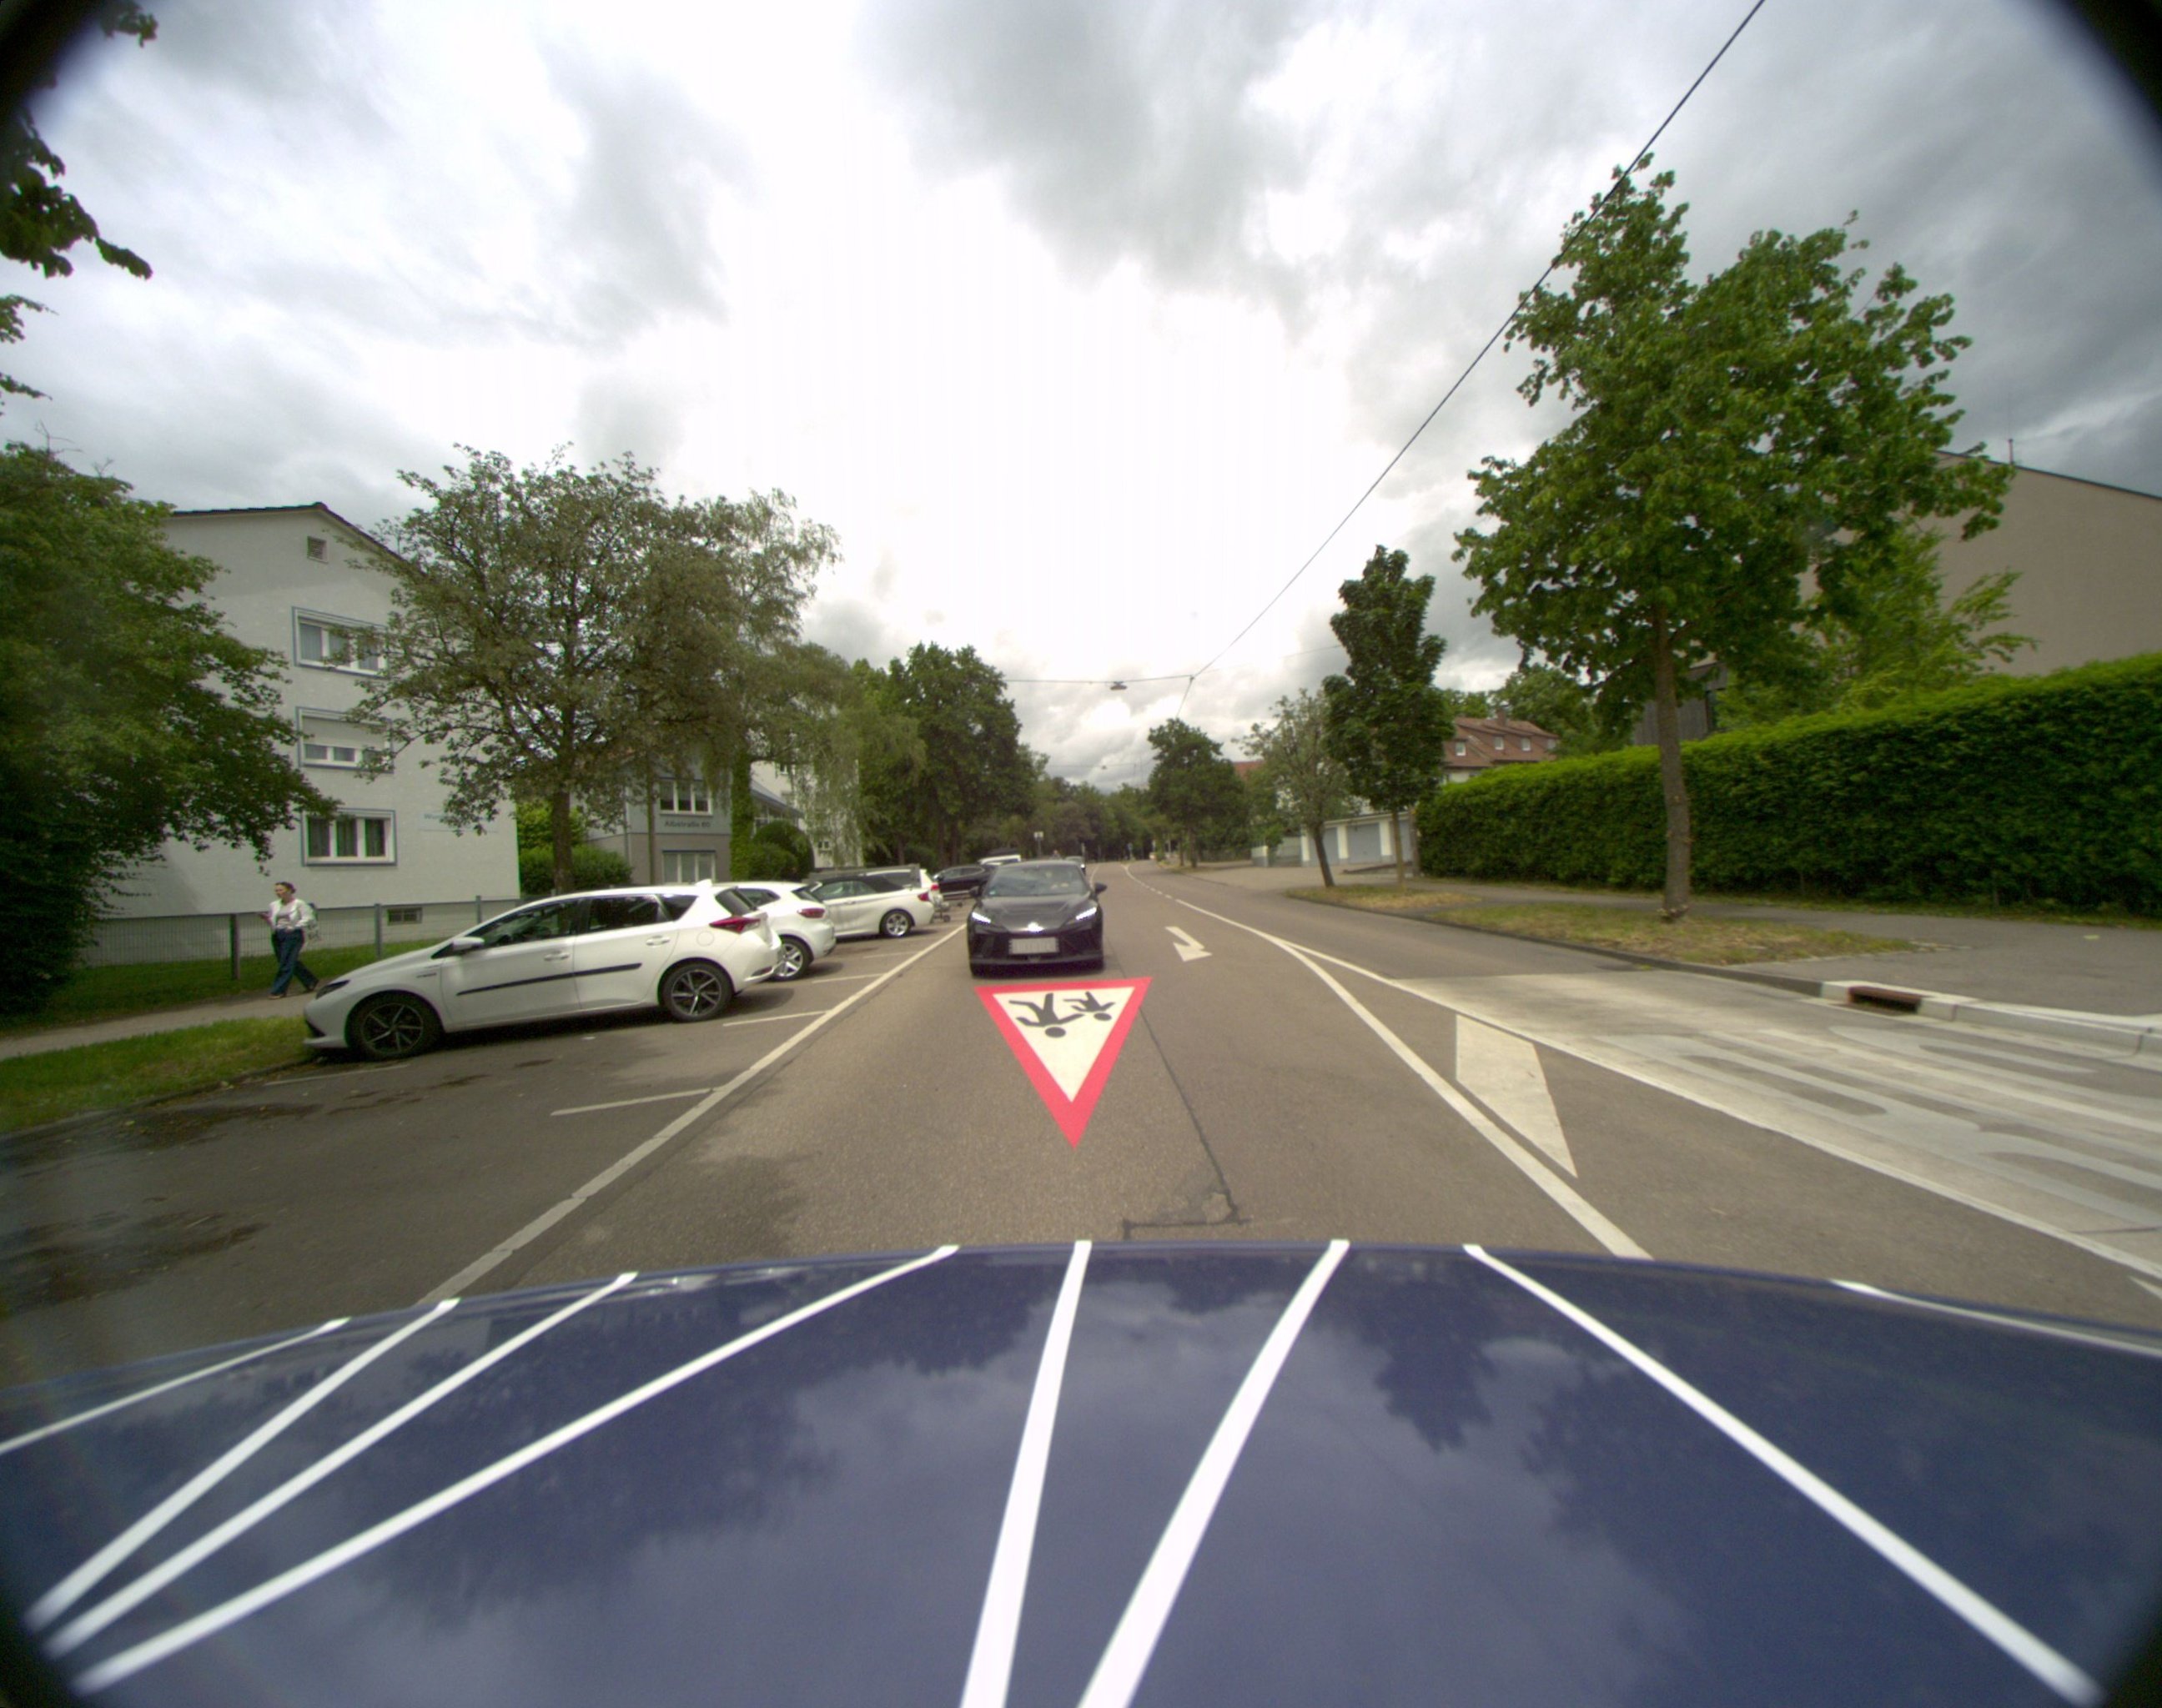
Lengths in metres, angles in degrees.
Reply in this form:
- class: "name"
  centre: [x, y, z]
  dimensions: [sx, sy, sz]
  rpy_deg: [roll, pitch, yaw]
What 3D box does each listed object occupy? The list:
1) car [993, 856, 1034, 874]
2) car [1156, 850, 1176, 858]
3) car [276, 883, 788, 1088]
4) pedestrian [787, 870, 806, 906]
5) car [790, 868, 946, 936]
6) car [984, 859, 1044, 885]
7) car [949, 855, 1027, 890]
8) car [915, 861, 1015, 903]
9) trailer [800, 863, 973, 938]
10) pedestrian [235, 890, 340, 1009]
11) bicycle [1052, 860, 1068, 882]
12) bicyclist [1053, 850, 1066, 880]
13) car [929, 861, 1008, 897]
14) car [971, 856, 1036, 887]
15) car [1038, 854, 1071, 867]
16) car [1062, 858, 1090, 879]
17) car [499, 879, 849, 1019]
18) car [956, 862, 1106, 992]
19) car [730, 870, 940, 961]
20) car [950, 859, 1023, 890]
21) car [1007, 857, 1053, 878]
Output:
- class: "car"
  centre: [-7.030, 1.116, 79.156]
  dimensions: [3.860, 1.549, 1.653]
  rpy_deg: [-4, 1, -18]
- class: "car"
  centre: [18.669, -0.017, 166.951]
  dimensions: [4.006, 1.401, 1.796]
  rpy_deg: [-3, 0, -34]
- class: "car"
  centre: [-5.437, 1.225, 8.224]
  dimensions: [4.002, 1.455, 1.863]
  rpy_deg: [-4, 1, -17]
- class: "pedestrian"
  centre: [-12.519, 1.482, 33.436]
  dimensions: [0.694, 1.495, 0.777]
  rpy_deg: [-3, 1, -18]
- class: "car"
  centre: [-6.018, 1.287, 21.431]
  dimensions: [4.003, 1.455, 1.788]
  rpy_deg: [-4, 1, -22]
- class: "car"
  centre: [-4.597, 1.200, 52.088]
  dimensions: [3.858, 1.426, 1.653]
  rpy_deg: [-4, 1, -12]
- class: "car"
  centre: [-5.622, 1.106, 46.064]
  dimensions: [4.226, 1.748, 1.856]
  rpy_deg: [-4, 1, -23]
- class: "car"
  centre: [-4.995, 1.165, 32.666]
  dimensions: [3.859, 1.426, 1.712]
  rpy_deg: [-4, 1, -23]
- class: "trailer"
  centre: [-4.921, 1.128, 19.357]
  dimensions: [4.002, 1.543, 1.657]
  rpy_deg: [-3, 0, -17]
- class: "pedestrian"
  centre: [-11.650, 1.384, 11.175]
  dimensions: [0.692, 1.634, 0.779]
  rpy_deg: [-3, 1, 20]
- class: "bicycle"
  centre: [-1.265, 1.014, 45.397]
  dimensions: [0.648, 1.230, 1.876]
  rpy_deg: [-3, 0, -9]
- class: "bicyclist"
  centre: [-1.282, 0.659, 45.397]
  dimensions: [0.647, 1.768, 0.627]
  rpy_deg: [-2, 1, -10]
- class: "car"
  centre: [-5.603, 1.203, 37.790]
  dimensions: [3.516, 1.455, 1.713]
  rpy_deg: [-4, 1, -19]
- class: "car"
  centre: [-5.040, 1.110, 49.278]
  dimensions: [3.858, 1.634, 1.851]
  rpy_deg: [-4, 1, -12]
- class: "car"
  centre: [-3.321, 0.829, 94.977]
  dimensions: [3.856, 1.378, 1.654]
  rpy_deg: [-4, 1, -6]
- class: "car"
  centre: [-0.327, 1.058, 56.999]
  dimensions: [1.860, 1.366, 4.076]
  rpy_deg: [-3, 0, 2]
- class: "car"
  centre: [-5.619, 1.272, 11.008]
  dimensions: [3.999, 1.455, 1.795]
  rpy_deg: [-4, 1, -8]
- class: "car"
  centre: [-0.593, 0.934, 11.392]
  dimensions: [1.813, 1.484, 3.793]
  rpy_deg: [-3, 1, 1]
- class: "car"
  centre: [-5.303, 1.231, 16.391]
  dimensions: [4.004, 1.455, 1.847]
  rpy_deg: [-4, 1, -25]
- class: "car"
  centre: [-5.354, 1.153, 43.062]
  dimensions: [3.858, 1.430, 1.714]
  rpy_deg: [-4, 1, -12]
- class: "car"
  centre: [-4.667, 1.233, 69.372]
  dimensions: [3.860, 1.603, 1.653]
  rpy_deg: [-4, 1, -18]
